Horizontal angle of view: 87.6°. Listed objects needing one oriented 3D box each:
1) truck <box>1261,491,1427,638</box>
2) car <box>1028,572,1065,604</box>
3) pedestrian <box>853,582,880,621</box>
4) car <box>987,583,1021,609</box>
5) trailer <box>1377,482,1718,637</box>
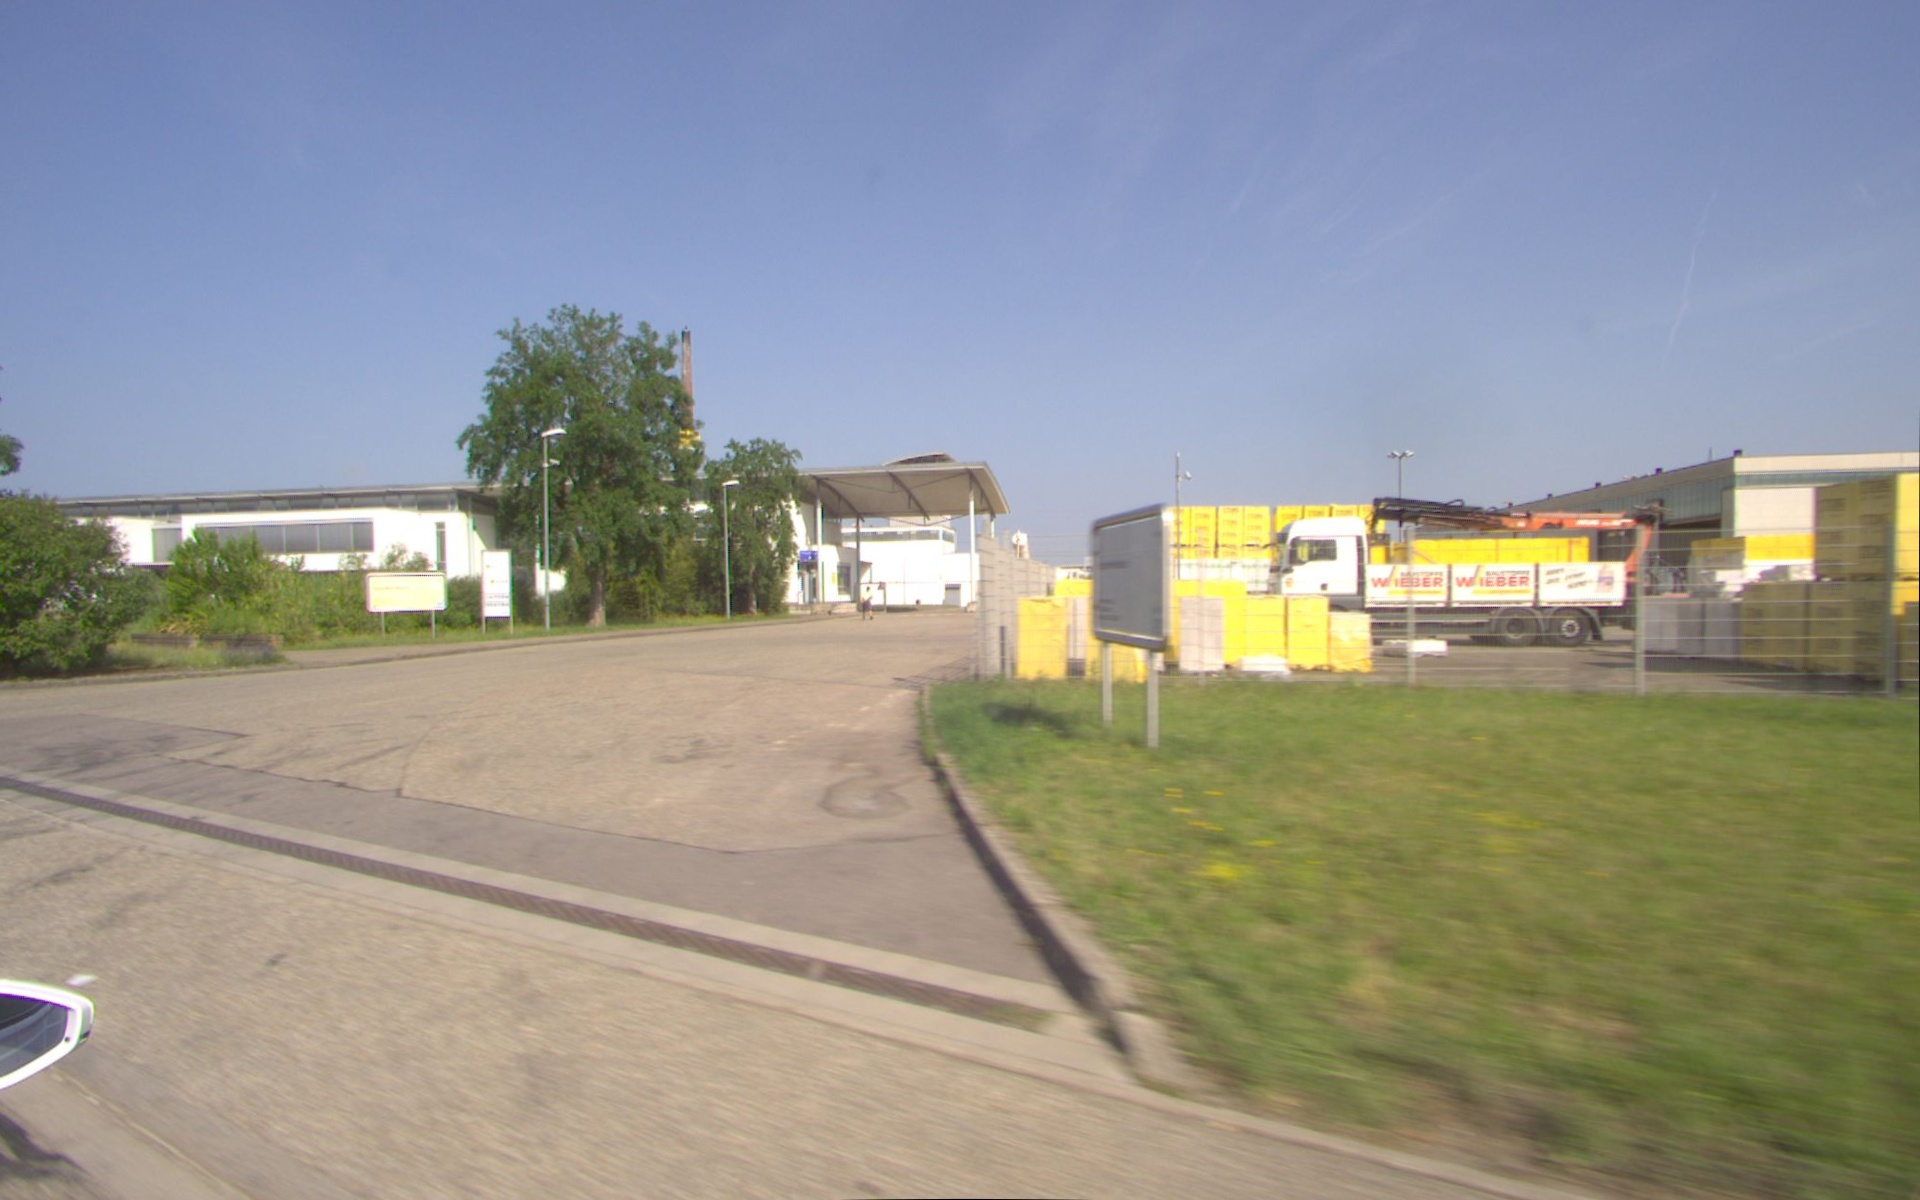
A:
[{"bbox_3d":[10.763,-0.898,28.453,3.924,3.925,2.545,-1,-1,10],"label":"truck"},{"bbox_3d":[5.514,-0.746,63.583,1.962,1.839,3.999,-1,-2,11],"label":"car"},{"bbox_3d":[-4.931,0.086,52.874,0.971,2.039,1.152,0,-1,-39],"label":"pedestrian"},{"bbox_3d":[2.875,-0.221,65.219,1.695,1.527,4.000,-1,-2,10],"label":"car"},{"bbox_3d":[15.837,-0.978,27.546,7.652,3.925,2.485,-1,-1,10],"label":"trailer"}]
